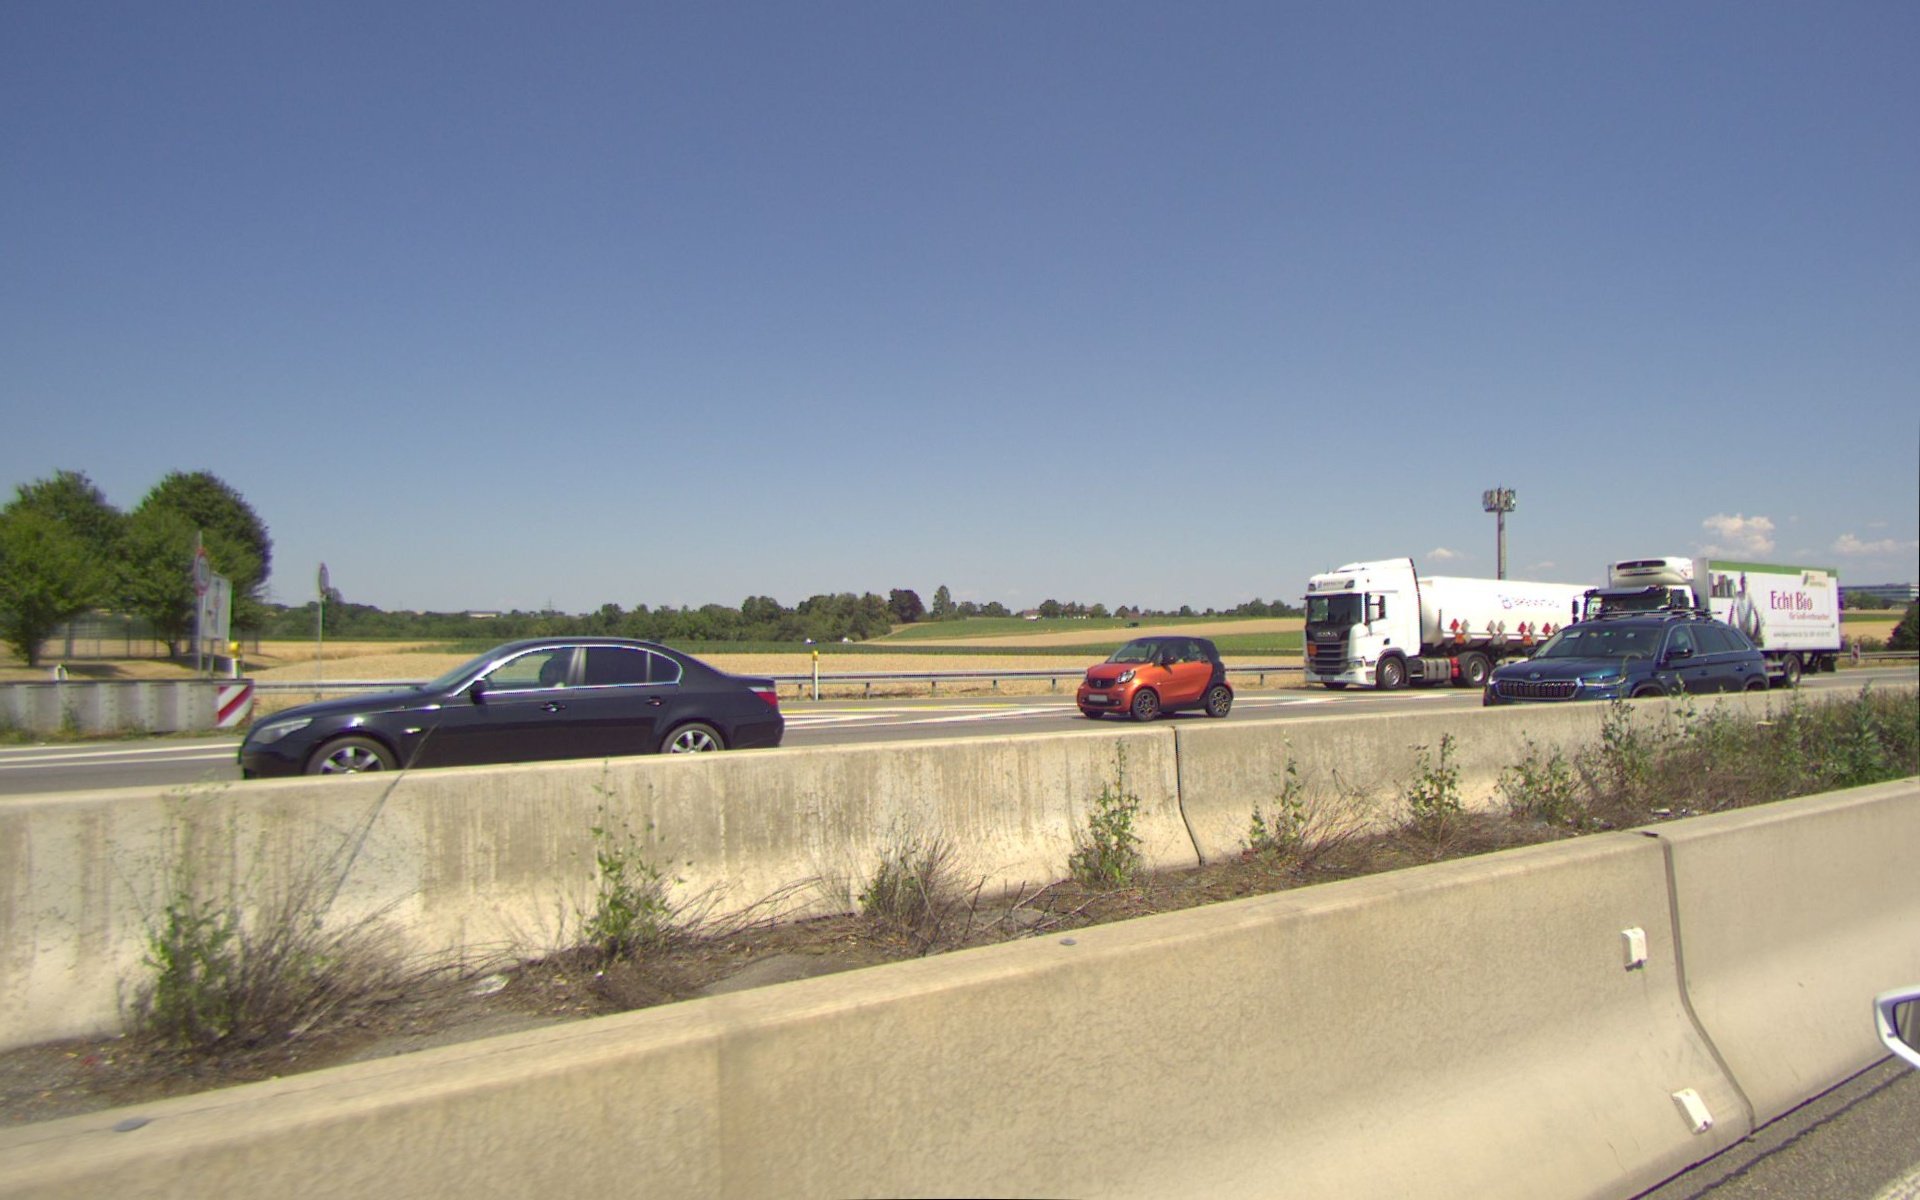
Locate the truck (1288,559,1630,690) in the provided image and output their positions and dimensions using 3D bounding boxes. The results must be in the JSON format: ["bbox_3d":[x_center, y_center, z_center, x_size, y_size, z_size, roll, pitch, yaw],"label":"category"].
[{"bbox_3d":[16.891,0.882,33.473,13.116,3.825,2.890,1,-4,-27],"label":"truck"}]

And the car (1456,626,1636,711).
[{"bbox_3d":[12.386,1.378,21.187,3.998,1.644,1.551,1,-2,-31],"label":"car"}]

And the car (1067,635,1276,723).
[{"bbox_3d":[4.103,1.461,19.334,3.891,1.535,1.556,1,-3,-30],"label":"car"}]

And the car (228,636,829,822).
[{"bbox_3d":[-4.011,1.074,9.956,5.026,1.404,2.004,1,-2,-31],"label":"car"}]

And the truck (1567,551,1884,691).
[{"bbox_3d":[23.768,0.737,30.782,13.130,3.656,2.783,1,-3,-30],"label":"truck"}]

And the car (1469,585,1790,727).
[{"bbox_3d":[8.954,0.685,13.346,4.487,1.611,1.774,1,-1,-30],"label":"car"}]
